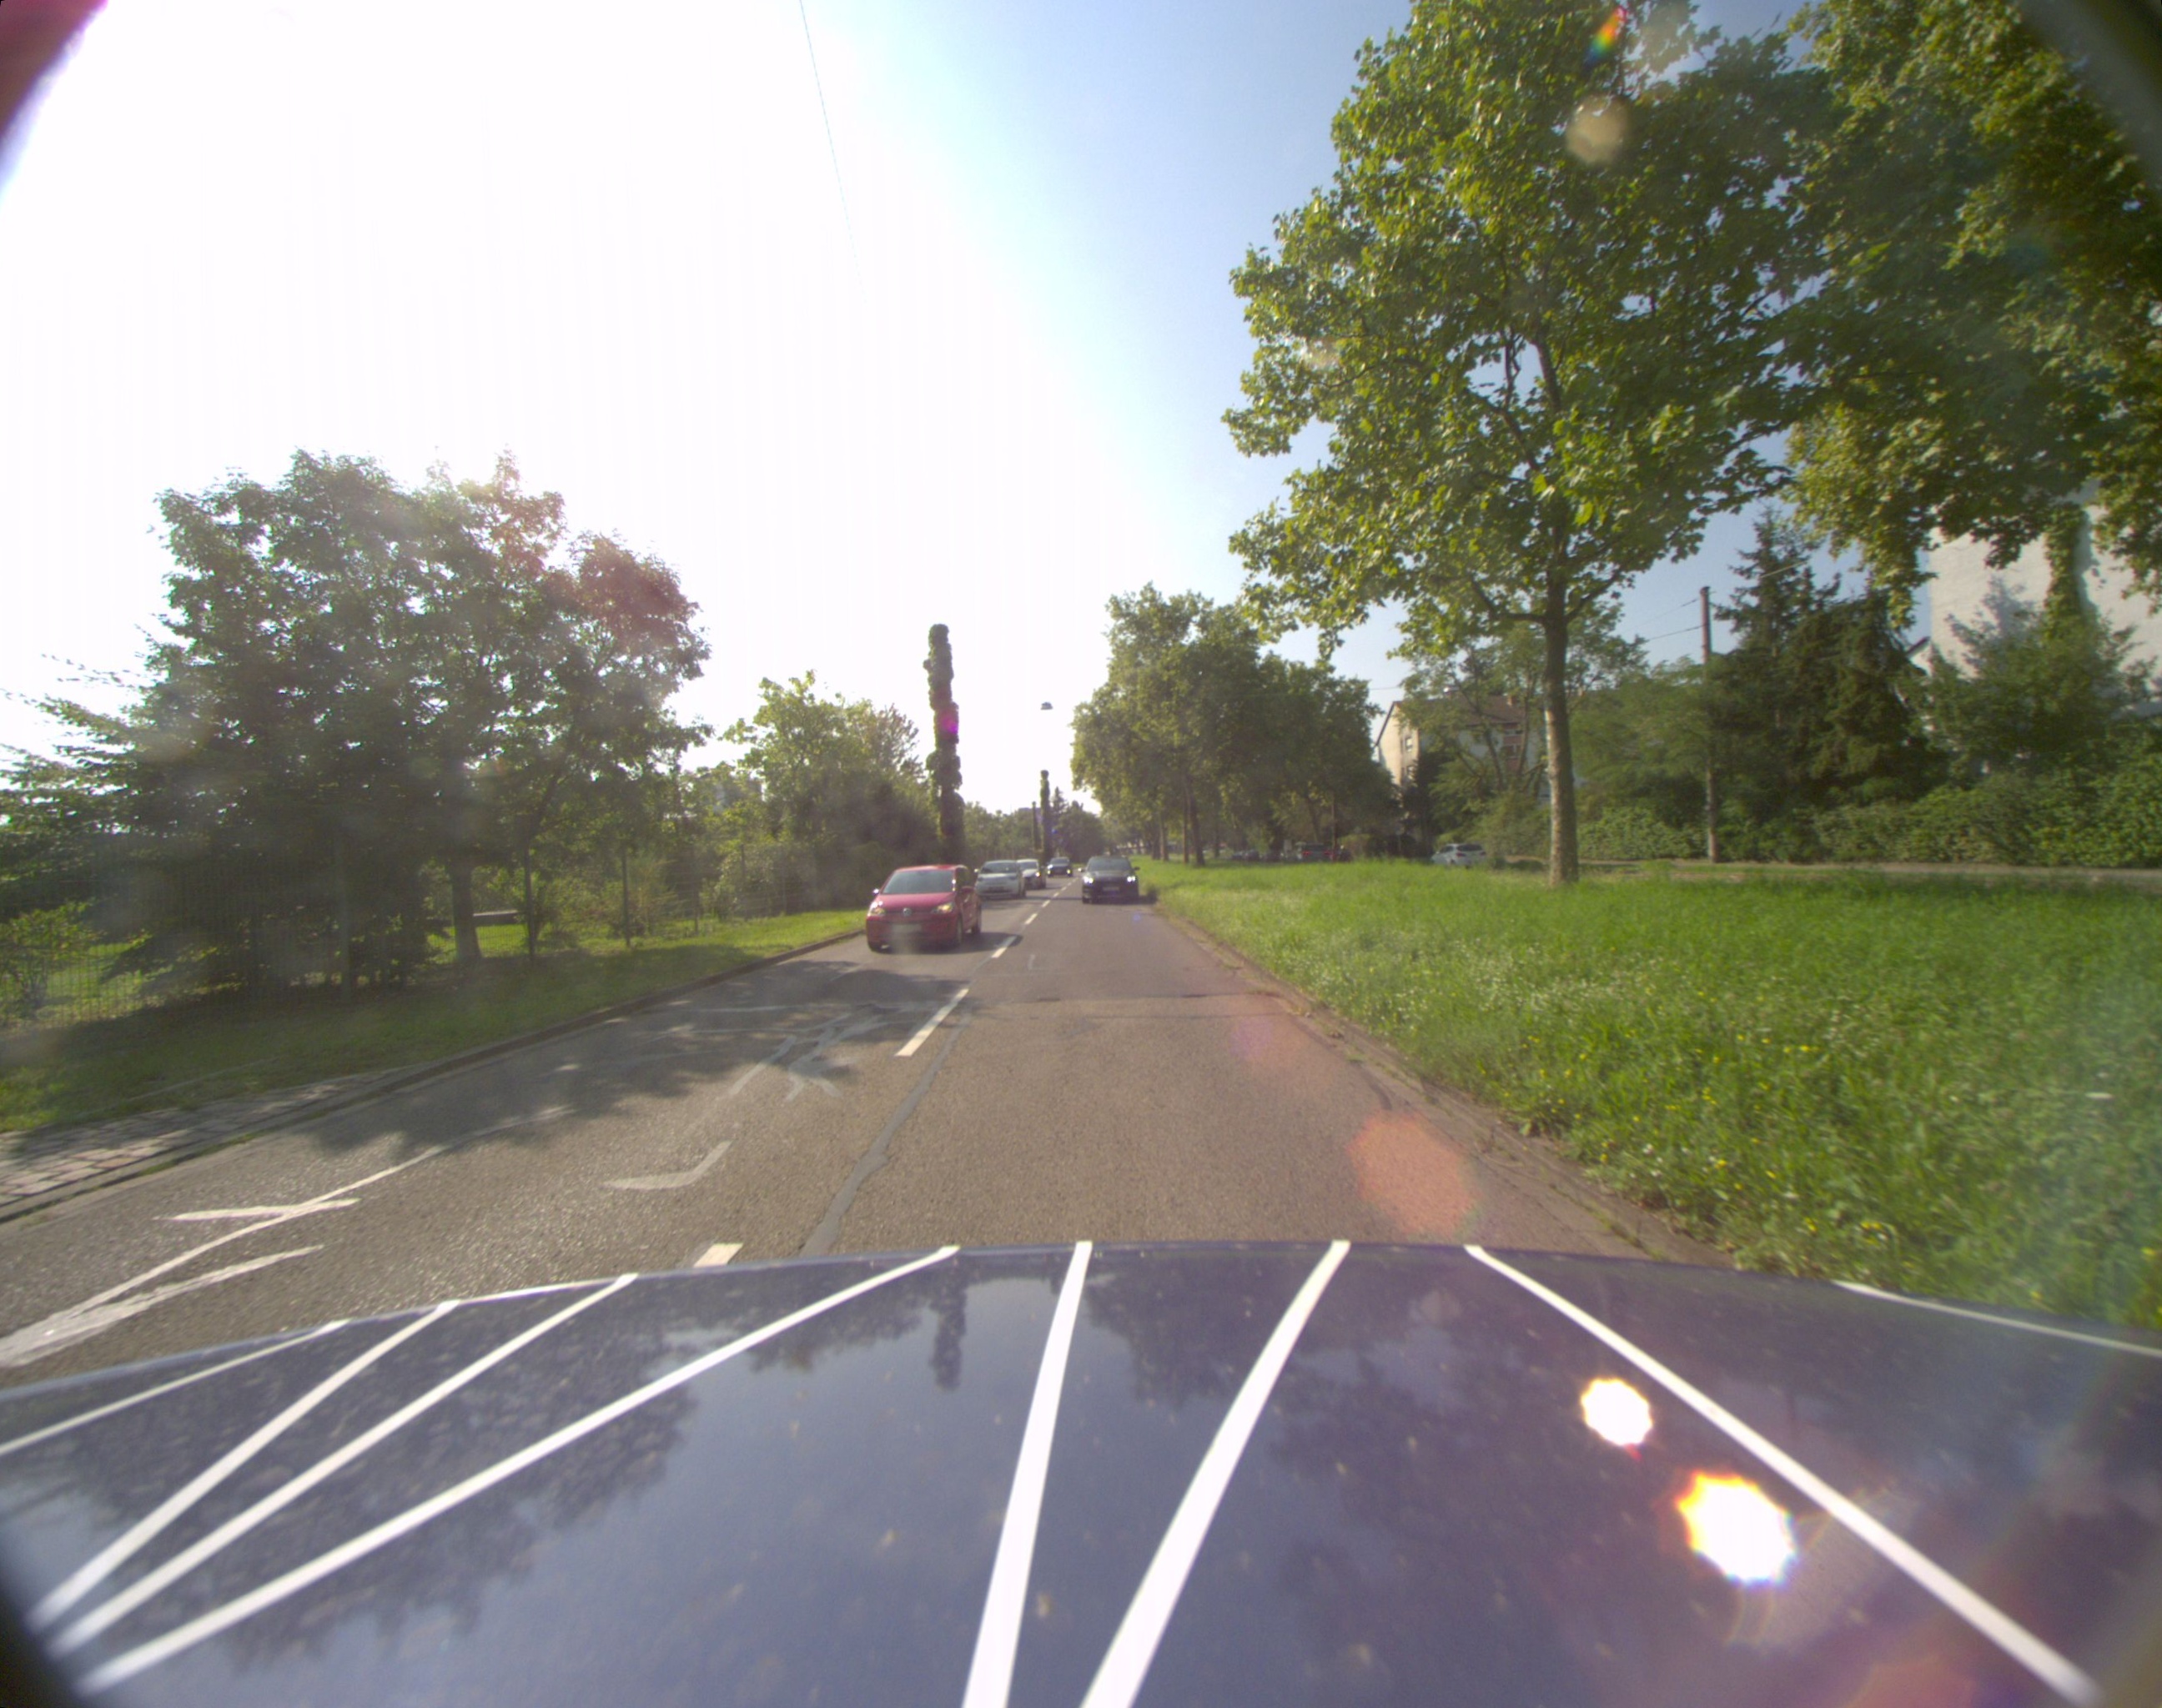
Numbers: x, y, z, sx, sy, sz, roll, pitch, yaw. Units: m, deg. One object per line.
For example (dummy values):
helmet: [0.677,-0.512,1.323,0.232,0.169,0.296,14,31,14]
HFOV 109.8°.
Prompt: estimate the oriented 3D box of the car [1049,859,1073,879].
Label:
car: [-1.509,1.143,59.348,1.649,1.378,3.898,-3,1,1]

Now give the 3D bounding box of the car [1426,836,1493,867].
car: [20.422,-0.146,41.162,1.649,1.471,3.898,-3,1,1]

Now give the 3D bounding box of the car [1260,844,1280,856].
car: [22.397,-0.525,90.136,1.613,1.284,3.523,-3,1,4]

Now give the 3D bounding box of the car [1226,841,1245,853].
car: [19.312,-0.897,95.234,1.649,1.471,3.898,-3,1,1]

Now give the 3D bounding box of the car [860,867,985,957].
car: [-2.912,1.014,14.639,1.579,1.390,3.471,-2,1,1]

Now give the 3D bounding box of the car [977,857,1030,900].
car: [-3.030,0.932,30.434,1.649,1.467,3.898,-3,1,0]

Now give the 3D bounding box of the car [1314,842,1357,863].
car: [17.998,-0.124,53.802,1.649,1.356,3.898,-3,0,-1]

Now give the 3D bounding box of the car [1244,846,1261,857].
car: [23.024,-0.349,101.882,1.613,1.284,3.523,-3,1,4]

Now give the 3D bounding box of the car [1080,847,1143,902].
car: [0.972,0.615,25.115,1.862,1.572,3.612,-3,1,1]

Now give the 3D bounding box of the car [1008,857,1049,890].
car: [-2.613,0.945,38.439,1.649,1.467,3.898,-3,1,1]

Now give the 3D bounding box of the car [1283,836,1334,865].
car: [14.271,-0.232,47.917,1.779,1.607,4.856,-3,1,1]
